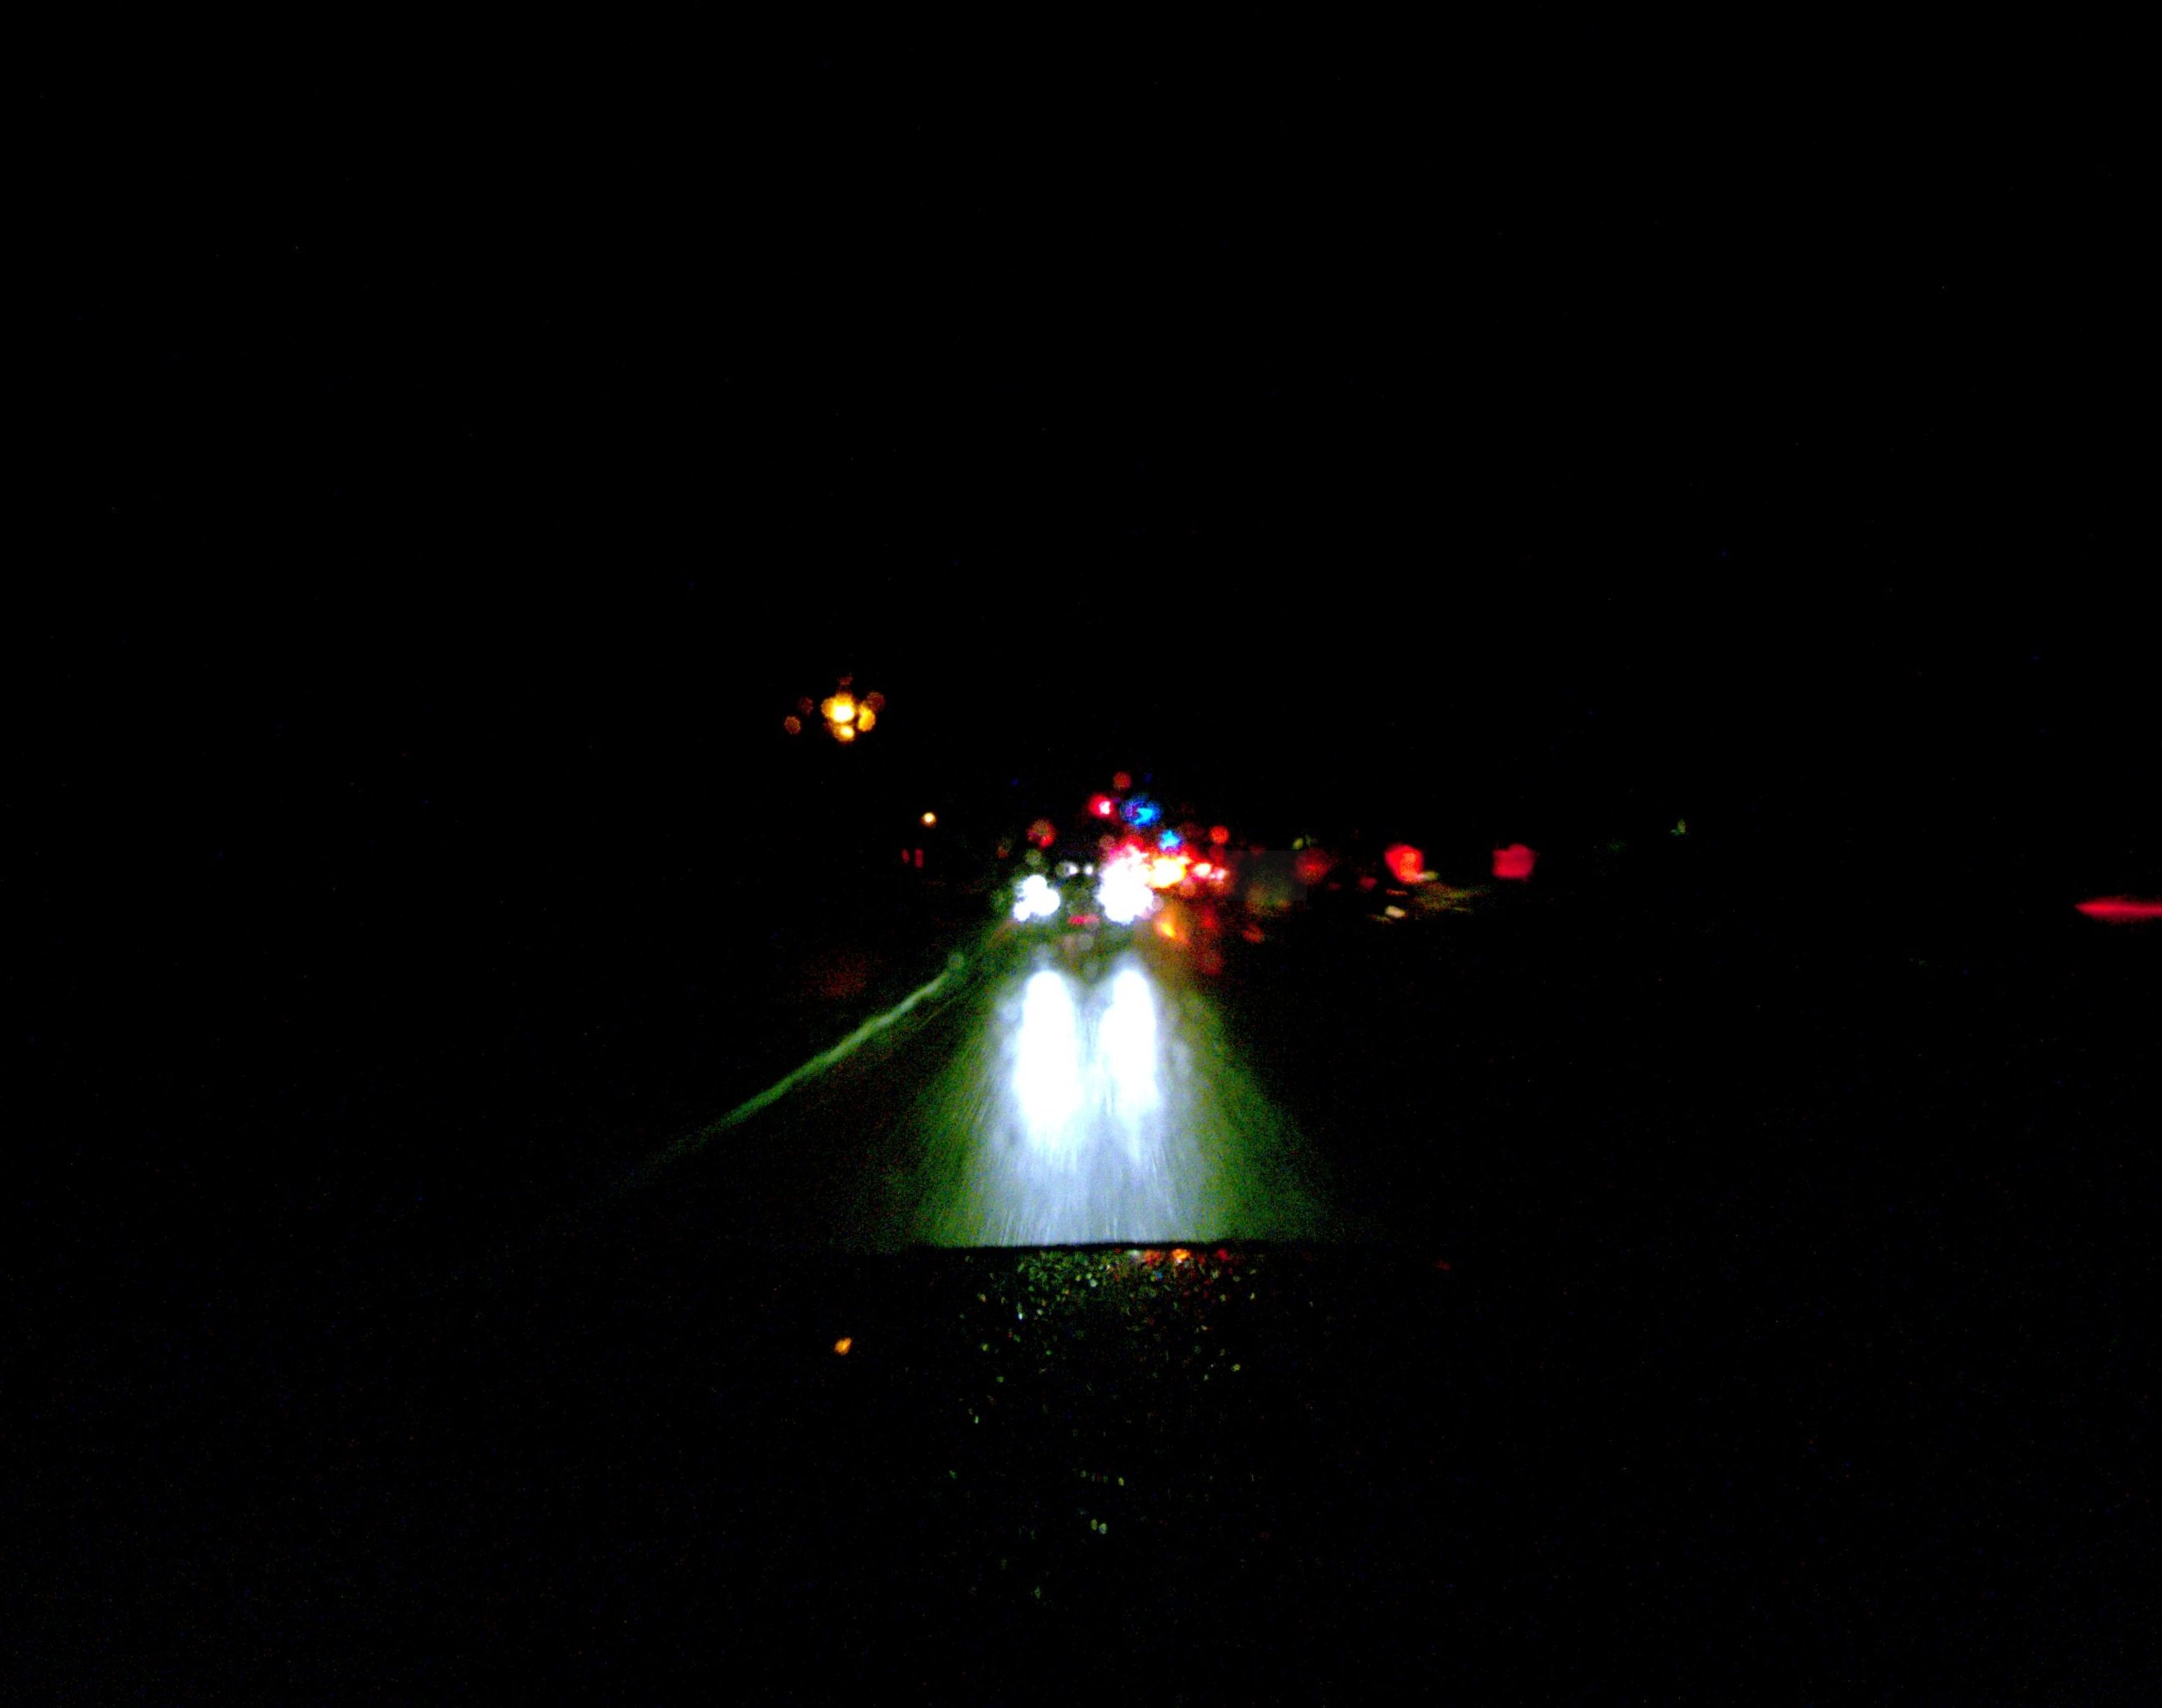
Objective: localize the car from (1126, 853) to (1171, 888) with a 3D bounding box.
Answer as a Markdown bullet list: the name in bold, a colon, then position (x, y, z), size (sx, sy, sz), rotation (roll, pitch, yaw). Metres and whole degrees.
- **car**: position (3.205, 0.749, 36.886), size (1.848, 1.565, 4.597), rotation (-2, 0, 1)

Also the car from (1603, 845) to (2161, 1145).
- **car**: position (6.468, 0.735, 6.007), size (1.883, 1.528, 3.987), rotation (-2, 0, -1)

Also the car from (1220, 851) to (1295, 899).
- **car**: position (6.405, 0.718, 28.042), size (1.724, 1.579, 4.312), rotation (-2, 0, 0)

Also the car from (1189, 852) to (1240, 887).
- **car**: position (6.284, 0.675, 36.056), size (1.724, 1.499, 3.827), rotation (-2, 0, 1)

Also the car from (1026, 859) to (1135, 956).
- **car**: position (0.034, 0.927, 15.349), size (1.809, 1.590, 4.786), rotation (-1, 0, 1)

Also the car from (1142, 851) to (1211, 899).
- **car**: position (3.541, 0.728, 28.915), size (1.810, 1.620, 4.414), rotation (-2, 0, -3)

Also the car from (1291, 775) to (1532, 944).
- **car**: position (6.278, 0.083, 15.554), size (2.128, 2.692, 6.240), rotation (-2, 0, 0)

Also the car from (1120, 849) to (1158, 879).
- **car**: position (3.427, 0.587, 45.651), size (1.849, 1.659, 4.445), rotation (-2, 0, 0)

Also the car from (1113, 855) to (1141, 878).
- **car**: position (3.208, 0.861, 54.086), size (1.626, 1.464, 3.884), rotation (-2, 0, -1)

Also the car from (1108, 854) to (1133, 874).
- **car**: position (3.089, 0.762, 60.595), size (1.673, 1.464, 3.633), rotation (-2, 0, -2)

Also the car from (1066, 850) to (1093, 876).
- **car**: position (-0.048, 0.638, 57.574), size (1.759, 1.807, 4.710), rotation (-3, 0, 2)
